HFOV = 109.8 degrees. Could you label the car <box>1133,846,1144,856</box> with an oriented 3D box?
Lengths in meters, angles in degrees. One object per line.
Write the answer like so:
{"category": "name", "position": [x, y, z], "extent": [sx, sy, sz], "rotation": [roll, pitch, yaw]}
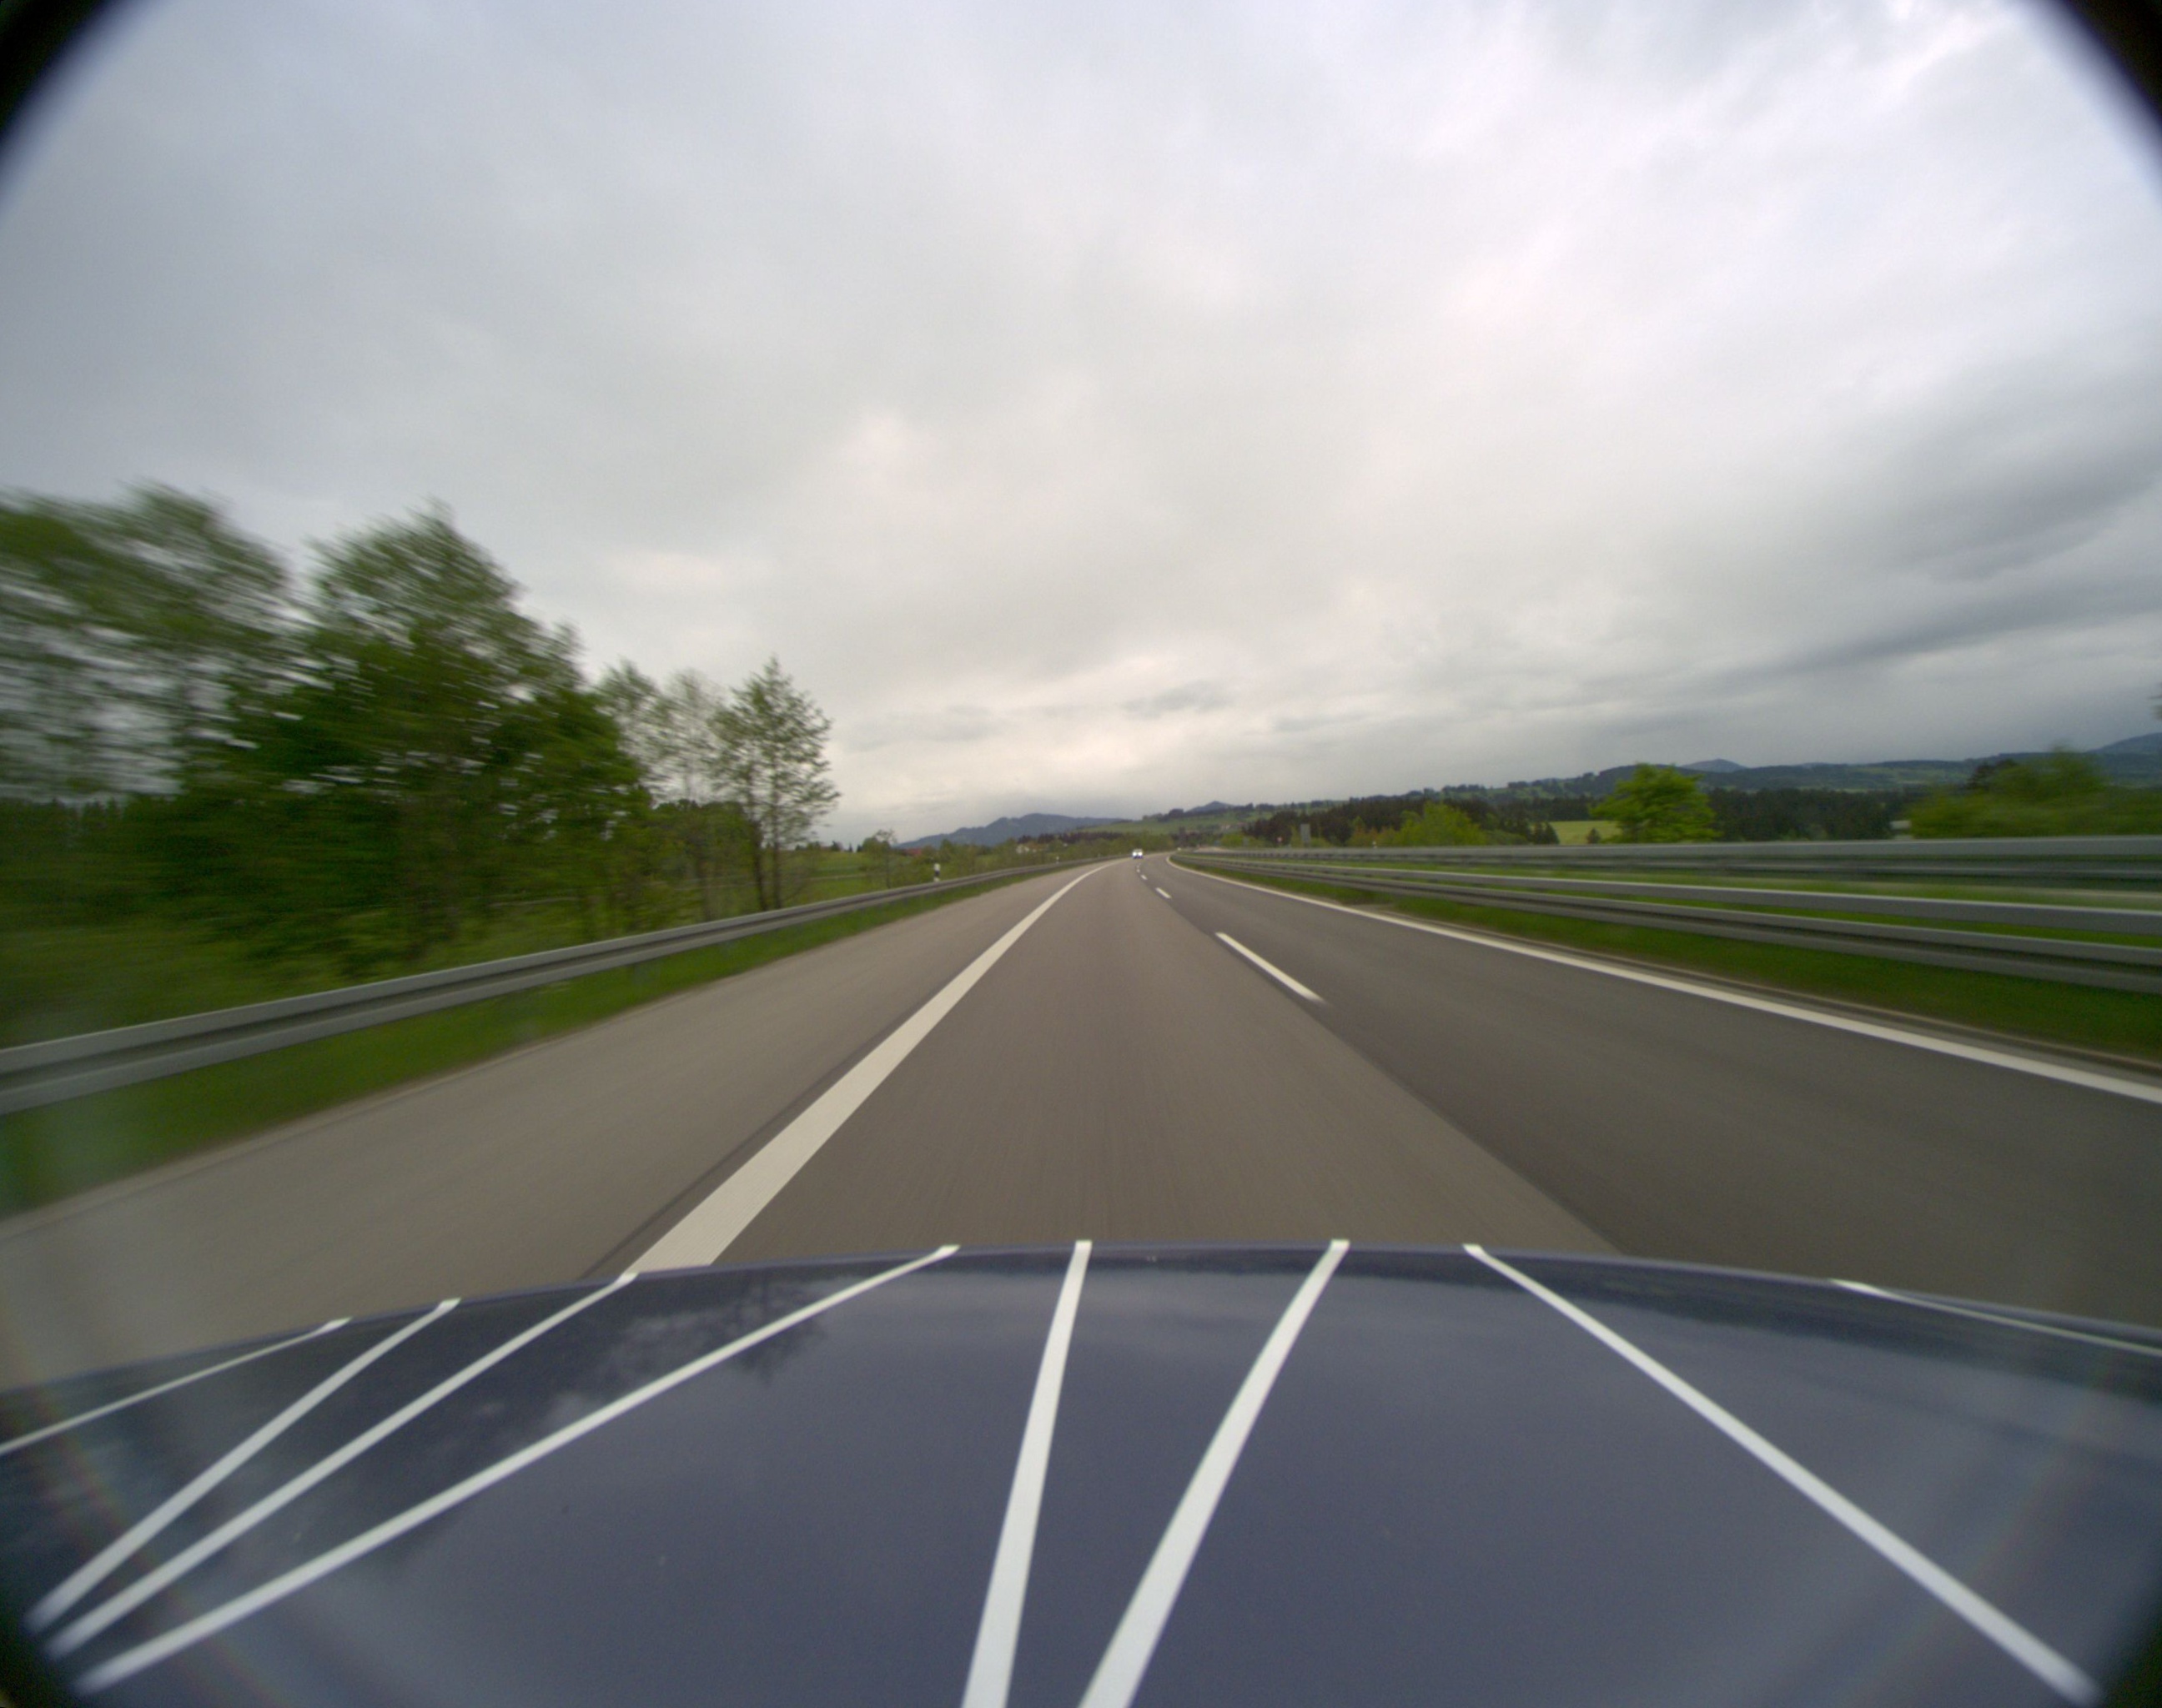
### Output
{"category": "car", "position": [11.933, -0.624, 157.152], "extent": [2.020, 1.899, 4.223], "rotation": [-2, 0, 7]}
